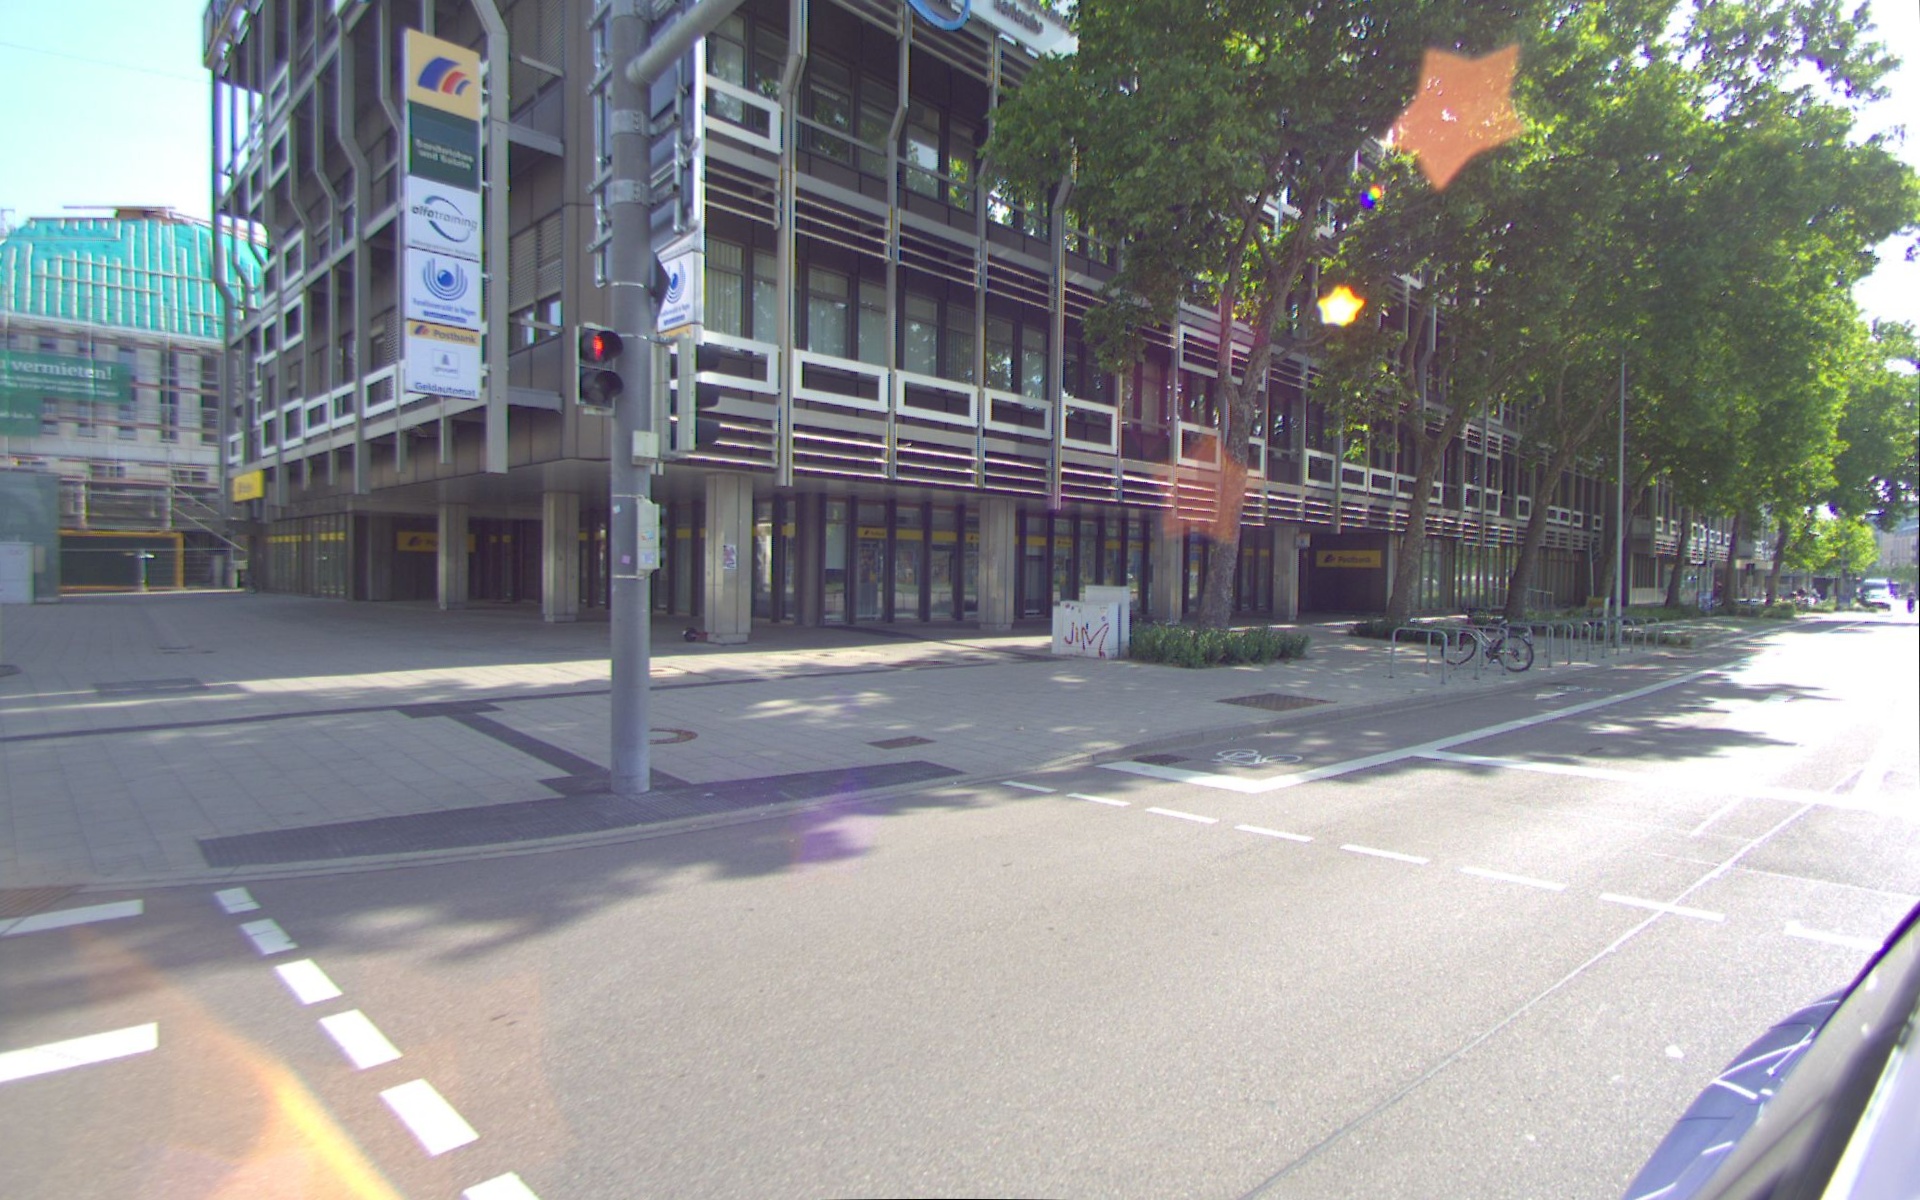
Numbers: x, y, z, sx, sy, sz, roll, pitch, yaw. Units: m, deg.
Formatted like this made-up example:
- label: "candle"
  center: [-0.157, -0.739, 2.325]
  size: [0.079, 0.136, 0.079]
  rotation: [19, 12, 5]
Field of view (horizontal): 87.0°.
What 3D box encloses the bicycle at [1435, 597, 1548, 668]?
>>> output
- label: "bicycle"
  center: [10.153, 0.589, 19.399]
  size: [0.527, 1.202, 1.832]
  rotation: [0, 3, -39]
